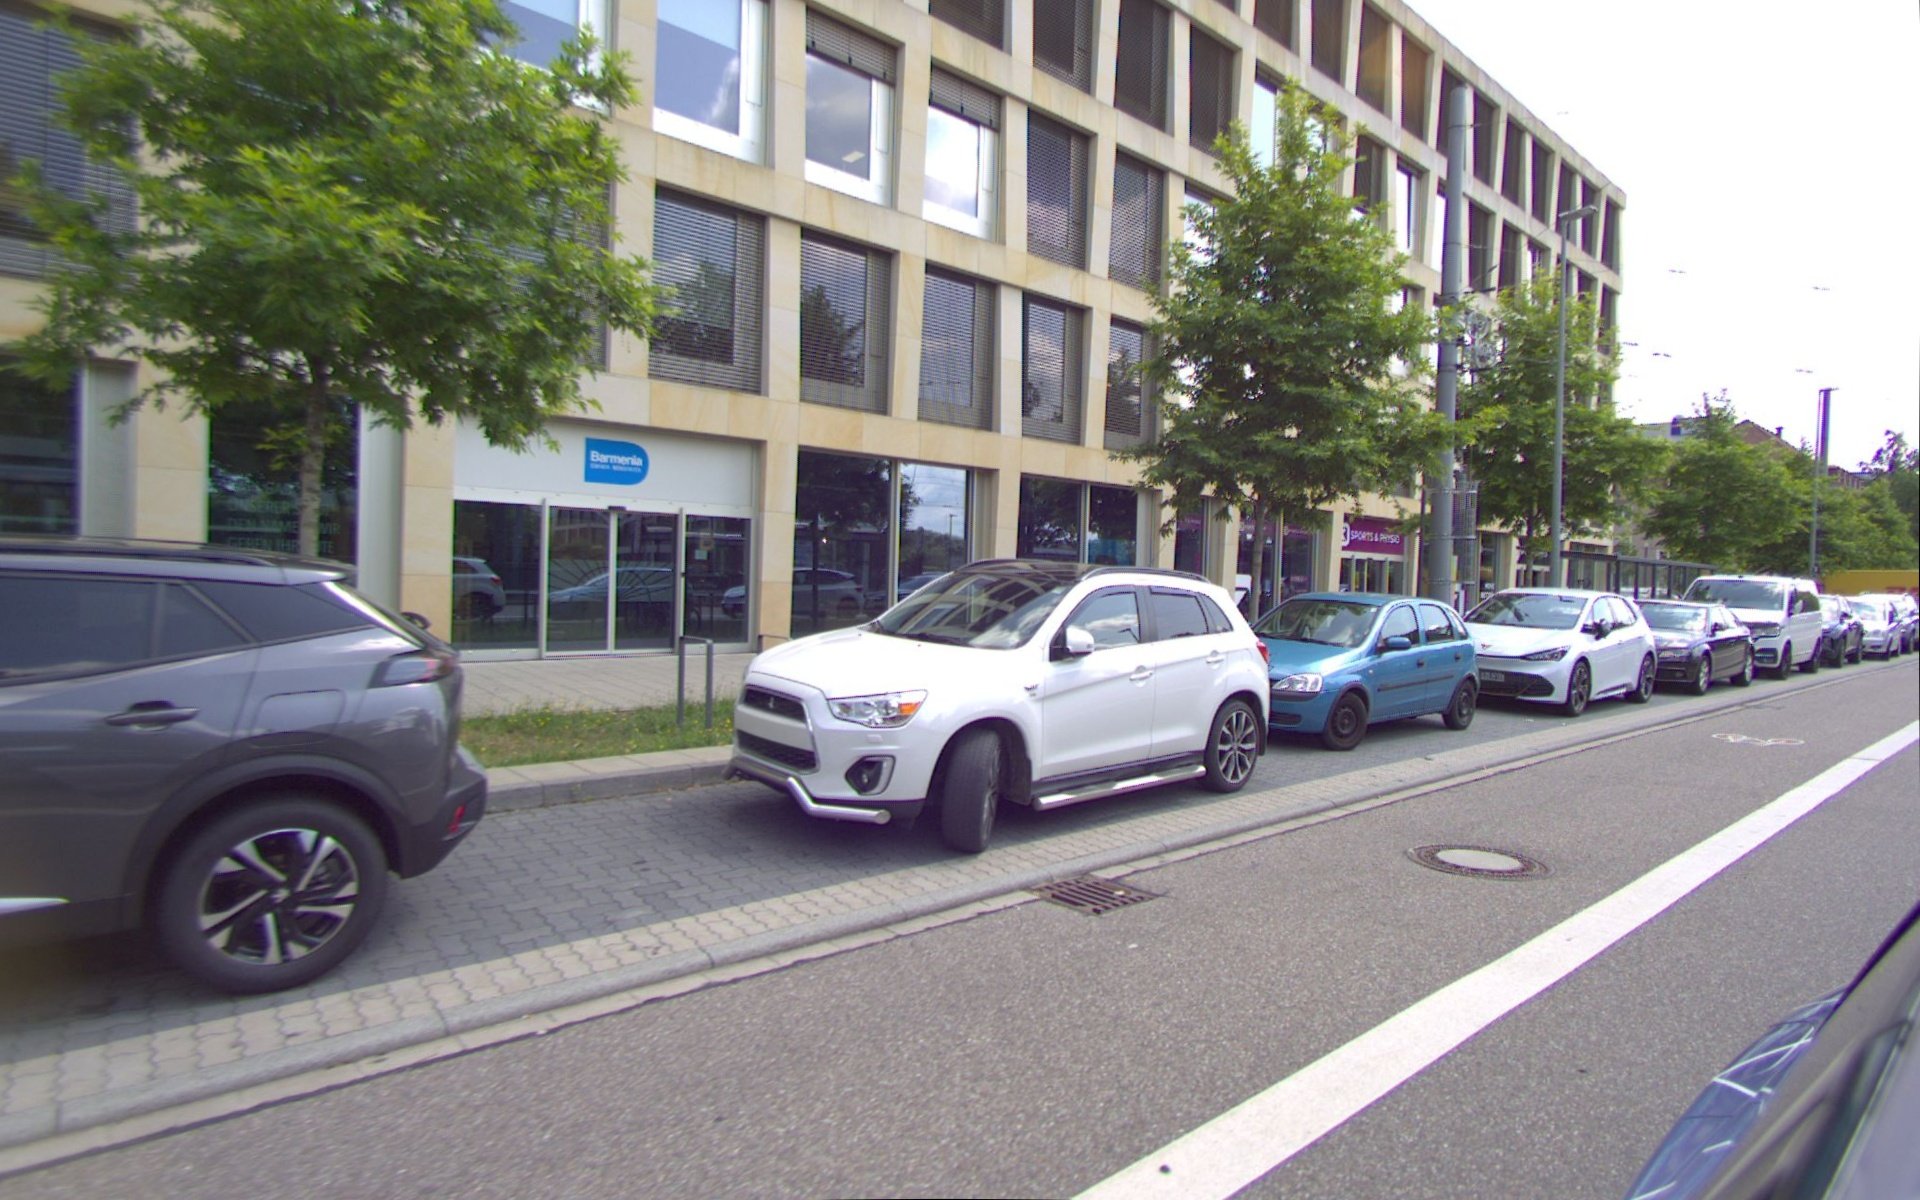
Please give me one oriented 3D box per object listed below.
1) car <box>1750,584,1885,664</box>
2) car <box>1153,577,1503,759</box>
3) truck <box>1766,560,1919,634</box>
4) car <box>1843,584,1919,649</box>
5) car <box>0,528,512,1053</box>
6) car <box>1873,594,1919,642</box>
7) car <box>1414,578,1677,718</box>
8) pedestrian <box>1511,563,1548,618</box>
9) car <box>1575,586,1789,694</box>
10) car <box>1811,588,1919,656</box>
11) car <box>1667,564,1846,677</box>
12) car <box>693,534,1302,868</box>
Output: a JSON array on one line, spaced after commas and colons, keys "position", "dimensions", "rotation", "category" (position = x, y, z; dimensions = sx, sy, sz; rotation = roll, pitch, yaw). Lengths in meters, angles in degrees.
[{"position": [20.623, 0.511, 24.288], "dimensions": [4.448, 1.660, 1.725], "rotation": [0, 3, -41], "category": "car"}, {"position": [3.939, 0.566, 10.540], "dimensions": [3.881, 1.475, 1.689], "rotation": [0, 3, -41], "category": "car"}, {"position": [38.331, -0.157, 42.392], "dimensions": [2.413, 2.902, 6.817], "rotation": [0, 3, -42], "category": "truck"}, {"position": [28.473, 0.467, 30.742], "dimensions": [4.755, 1.789, 1.773], "rotation": [0, 2, -41], "category": "car"}, {"position": [-3.787, 0.537, 3.377], "dimensions": [3.857, 1.567, 1.689], "rotation": [0, 3, -41], "category": "car"}, {"position": [32.622, 0.593, 34.514], "dimensions": [3.996, 1.523, 1.695], "rotation": [0, 2, -41], "category": "car"}, {"position": [8.074, 0.551, 13.816], "dimensions": [4.085, 1.548, 1.797], "rotation": [0, 3, -41], "category": "car"}, {"position": [16.608, -0.280, 29.499], "dimensions": [0.889, 1.570, 0.638], "rotation": [1, 1, -41], "category": "pedestrian"}, {"position": [12.286, 0.584, 17.120], "dimensions": [4.483, 1.505, 1.886], "rotation": [0, 3, -41], "category": "car"}, {"position": [24.463, 0.548, 27.255], "dimensions": [3.792, 1.640, 1.725], "rotation": [0, 2, -41], "category": "car"}, {"position": [16.201, 0.355, 20.491], "dimensions": [4.758, 1.962, 1.886], "rotation": [0, 3, -41], "category": "car"}, {"position": [0.455, 0.460, 6.960], "dimensions": [4.079, 1.625, 1.689], "rotation": [0, 3, -41], "category": "car"}]
